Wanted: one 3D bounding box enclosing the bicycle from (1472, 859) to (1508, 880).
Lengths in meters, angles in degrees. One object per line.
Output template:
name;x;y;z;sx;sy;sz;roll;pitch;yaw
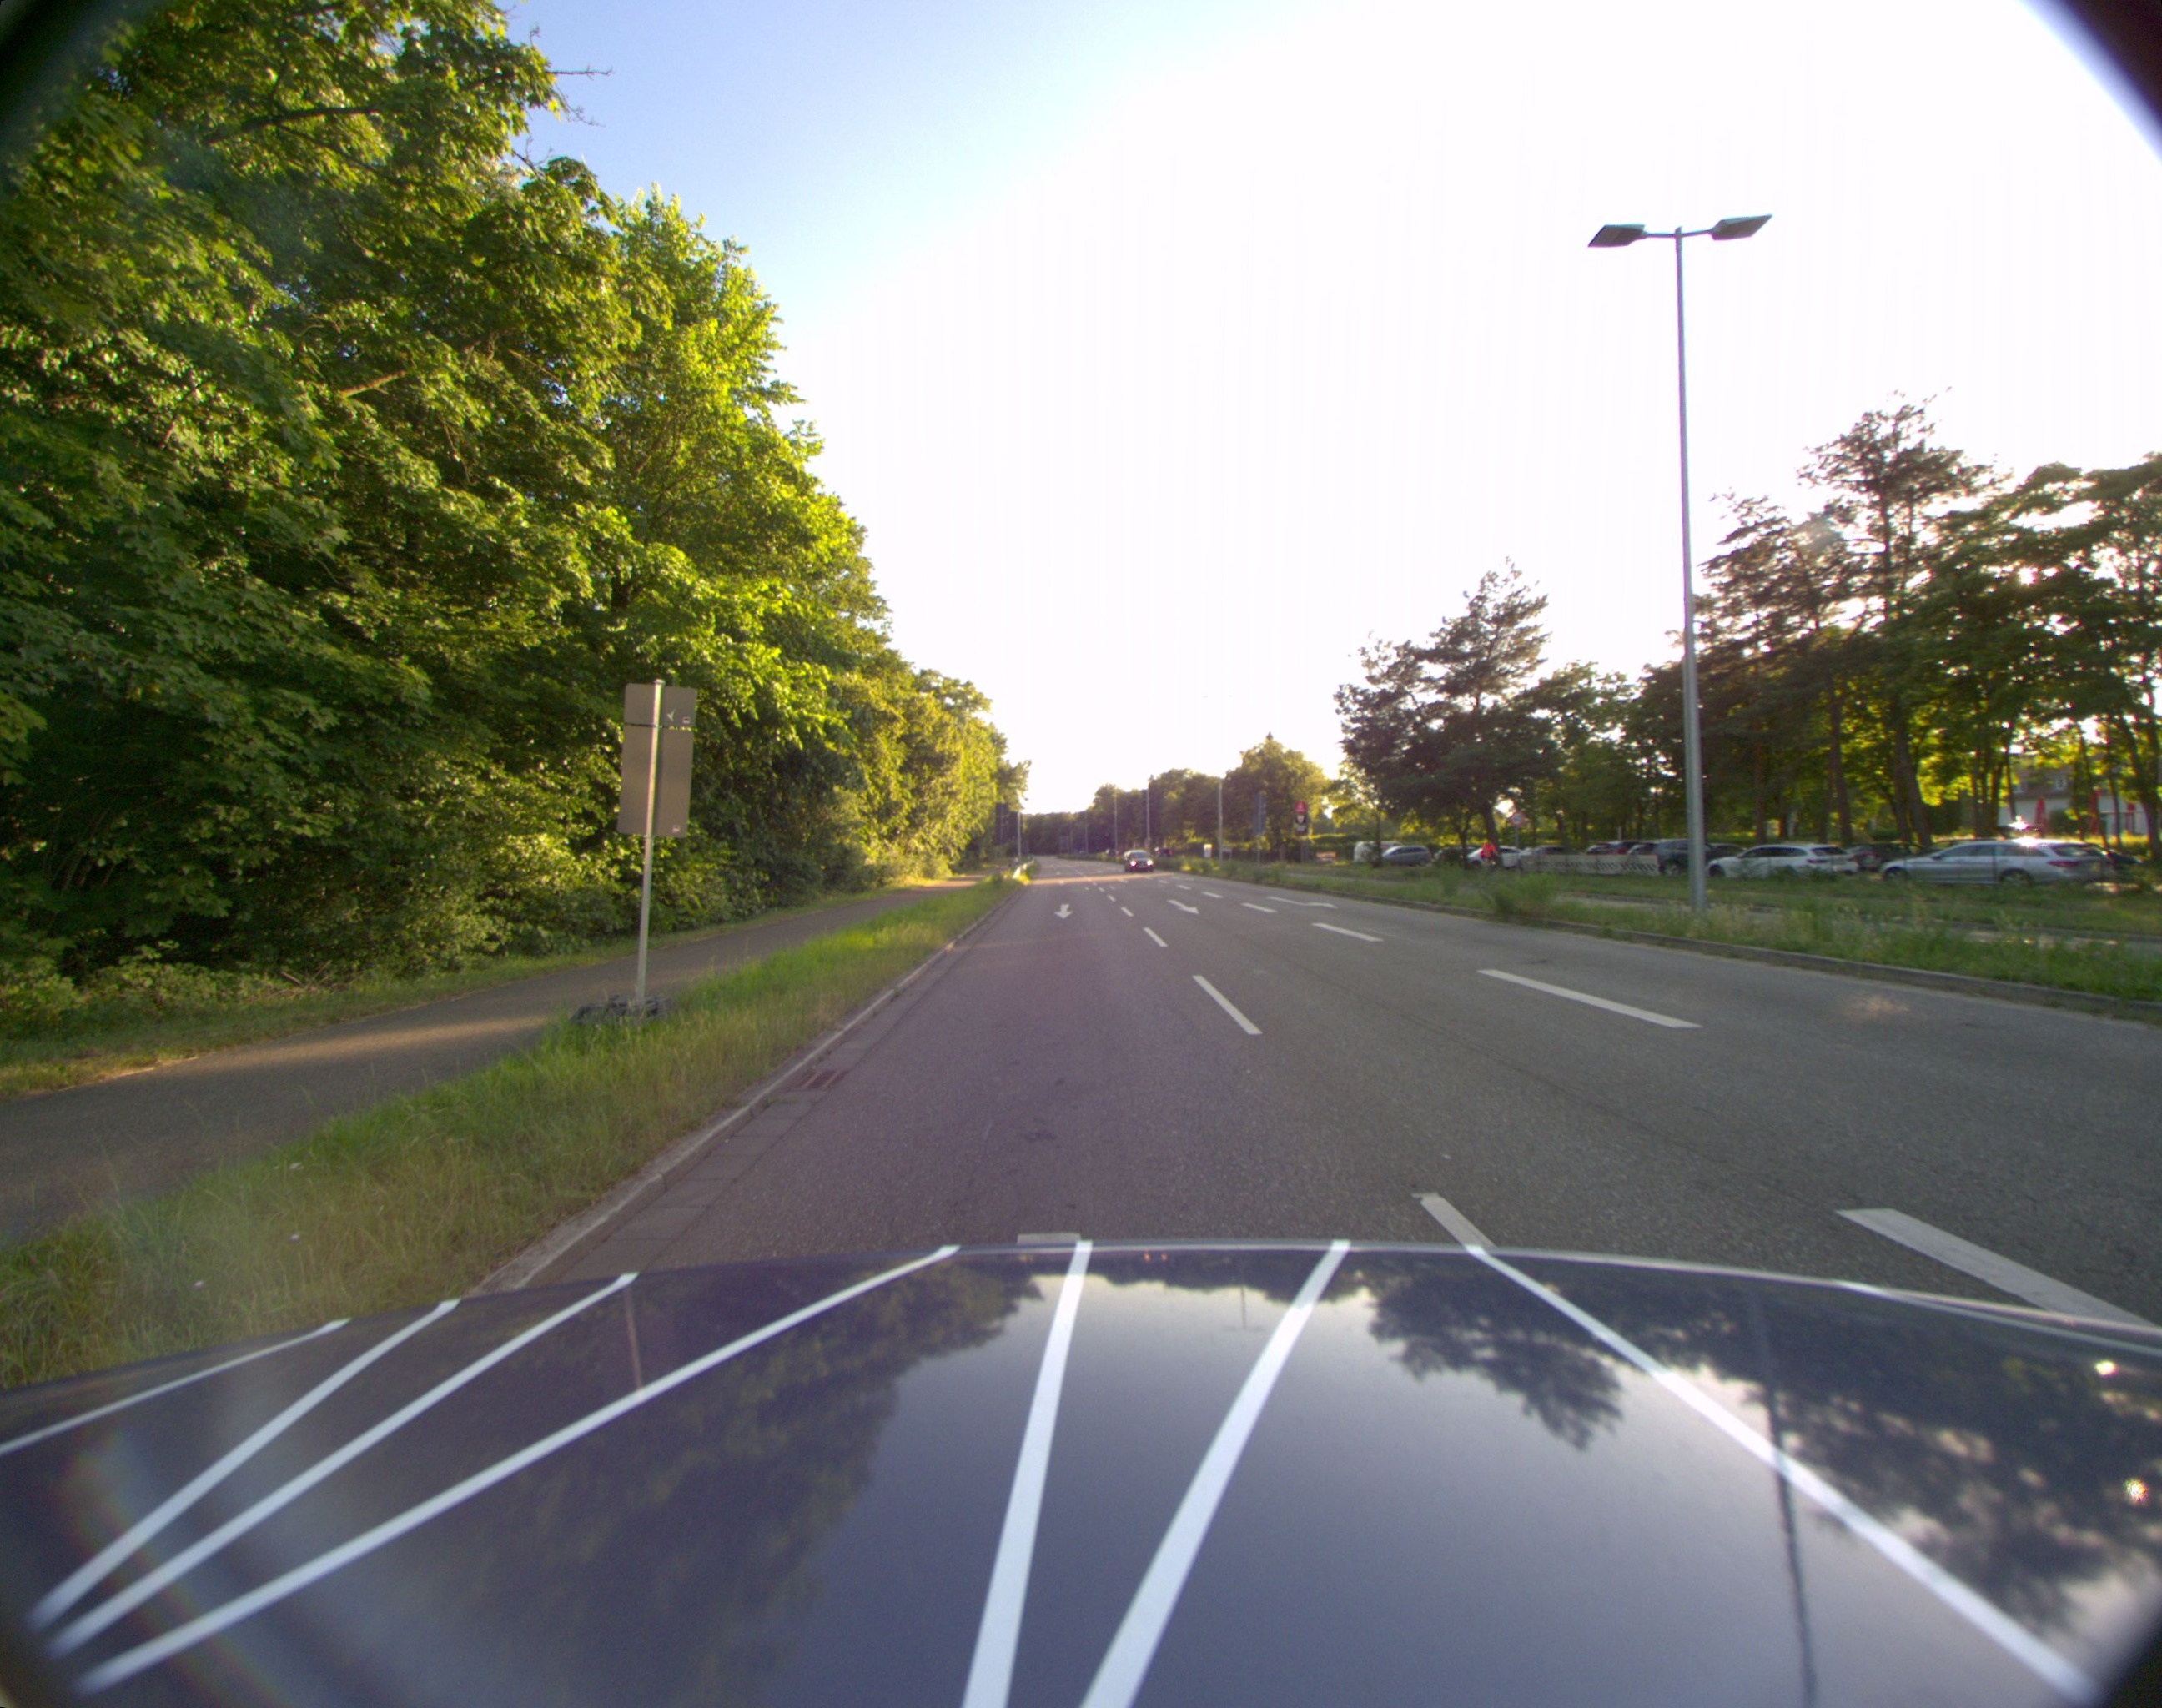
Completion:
bicycle;19.222;0.726;35.741;0.493;0.928;2.043;-1;0;-4

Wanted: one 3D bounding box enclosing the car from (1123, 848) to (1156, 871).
car;4.263;0.384;55.713;1.999;1.543;3.999;-1;0;-1

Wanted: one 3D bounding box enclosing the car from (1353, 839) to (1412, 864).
car;24.194;-0.210;61.076;3.998;1.932;1.766;-1;1;-2

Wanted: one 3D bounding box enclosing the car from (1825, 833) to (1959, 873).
car;35.418;-0.054;33.255;3.997;1.641;1.766;-1;1;-1

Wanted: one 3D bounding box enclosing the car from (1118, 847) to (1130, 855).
car;8.436;-0.566;148.836;1.761;1.532;3.997;-3;1;-6

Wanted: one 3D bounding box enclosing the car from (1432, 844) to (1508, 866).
car;25.016;0.063;48.955;3.997;1.304;1.732;-1;1;-1

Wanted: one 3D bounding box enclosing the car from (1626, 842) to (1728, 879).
car;25.568;0.266;32.645;3.099;1.518;1.659;-1;1;-2

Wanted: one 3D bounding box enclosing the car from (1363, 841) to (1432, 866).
car;24.133;-0.059;58.036;4.498;1.787;1.909;-1;1;-2

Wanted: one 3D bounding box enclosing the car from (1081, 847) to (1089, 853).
car;0.950;-1.080;193.695;1.760;1.532;3.998;-3;1;-4

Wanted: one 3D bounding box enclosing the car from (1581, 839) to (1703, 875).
car;26.427;0.132;35.861;4.525;1.608;1.771;-1;1;-3

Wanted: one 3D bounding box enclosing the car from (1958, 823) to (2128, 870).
car;34.979;-0.271;27.699;3.997;1.641;1.766;-1;1;-1

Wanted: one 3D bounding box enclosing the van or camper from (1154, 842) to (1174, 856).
van or camper;11.629;-0.691;106.731;1.999;2.002;4.576;-1;0;-4

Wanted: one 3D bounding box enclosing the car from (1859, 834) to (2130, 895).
car;26.774;0.259;22.634;1.999;1.597;4.920;-1;0;-4

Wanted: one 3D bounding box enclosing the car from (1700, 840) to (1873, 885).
car;26.418;0.274;28.743;1.999;1.539;4.708;-1;0;-4

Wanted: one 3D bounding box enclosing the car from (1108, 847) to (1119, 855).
car;6.806;-0.648;158.592;1.761;1.532;3.998;-3;1;-4

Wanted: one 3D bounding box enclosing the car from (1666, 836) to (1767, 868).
car;34.077;-0.095;40.810;3.997;1.641;1.766;-1;1;-1

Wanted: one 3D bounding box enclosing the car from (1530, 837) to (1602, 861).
car;34.116;-0.366;53.491;3.997;1.641;1.766;-1;1;-1

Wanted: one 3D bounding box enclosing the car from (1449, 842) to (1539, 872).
car;25.165;0.160;46.413;4.497;1.743;1.909;-1;1;-1

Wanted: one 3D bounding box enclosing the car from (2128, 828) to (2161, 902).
car;27.106;0.266;16.427;1.999;1.776;4.920;-1;0;-4

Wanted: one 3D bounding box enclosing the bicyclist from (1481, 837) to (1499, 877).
bicyclist;19.205;0.121;35.702;0.459;1.863;0.618;-1;1;-4
